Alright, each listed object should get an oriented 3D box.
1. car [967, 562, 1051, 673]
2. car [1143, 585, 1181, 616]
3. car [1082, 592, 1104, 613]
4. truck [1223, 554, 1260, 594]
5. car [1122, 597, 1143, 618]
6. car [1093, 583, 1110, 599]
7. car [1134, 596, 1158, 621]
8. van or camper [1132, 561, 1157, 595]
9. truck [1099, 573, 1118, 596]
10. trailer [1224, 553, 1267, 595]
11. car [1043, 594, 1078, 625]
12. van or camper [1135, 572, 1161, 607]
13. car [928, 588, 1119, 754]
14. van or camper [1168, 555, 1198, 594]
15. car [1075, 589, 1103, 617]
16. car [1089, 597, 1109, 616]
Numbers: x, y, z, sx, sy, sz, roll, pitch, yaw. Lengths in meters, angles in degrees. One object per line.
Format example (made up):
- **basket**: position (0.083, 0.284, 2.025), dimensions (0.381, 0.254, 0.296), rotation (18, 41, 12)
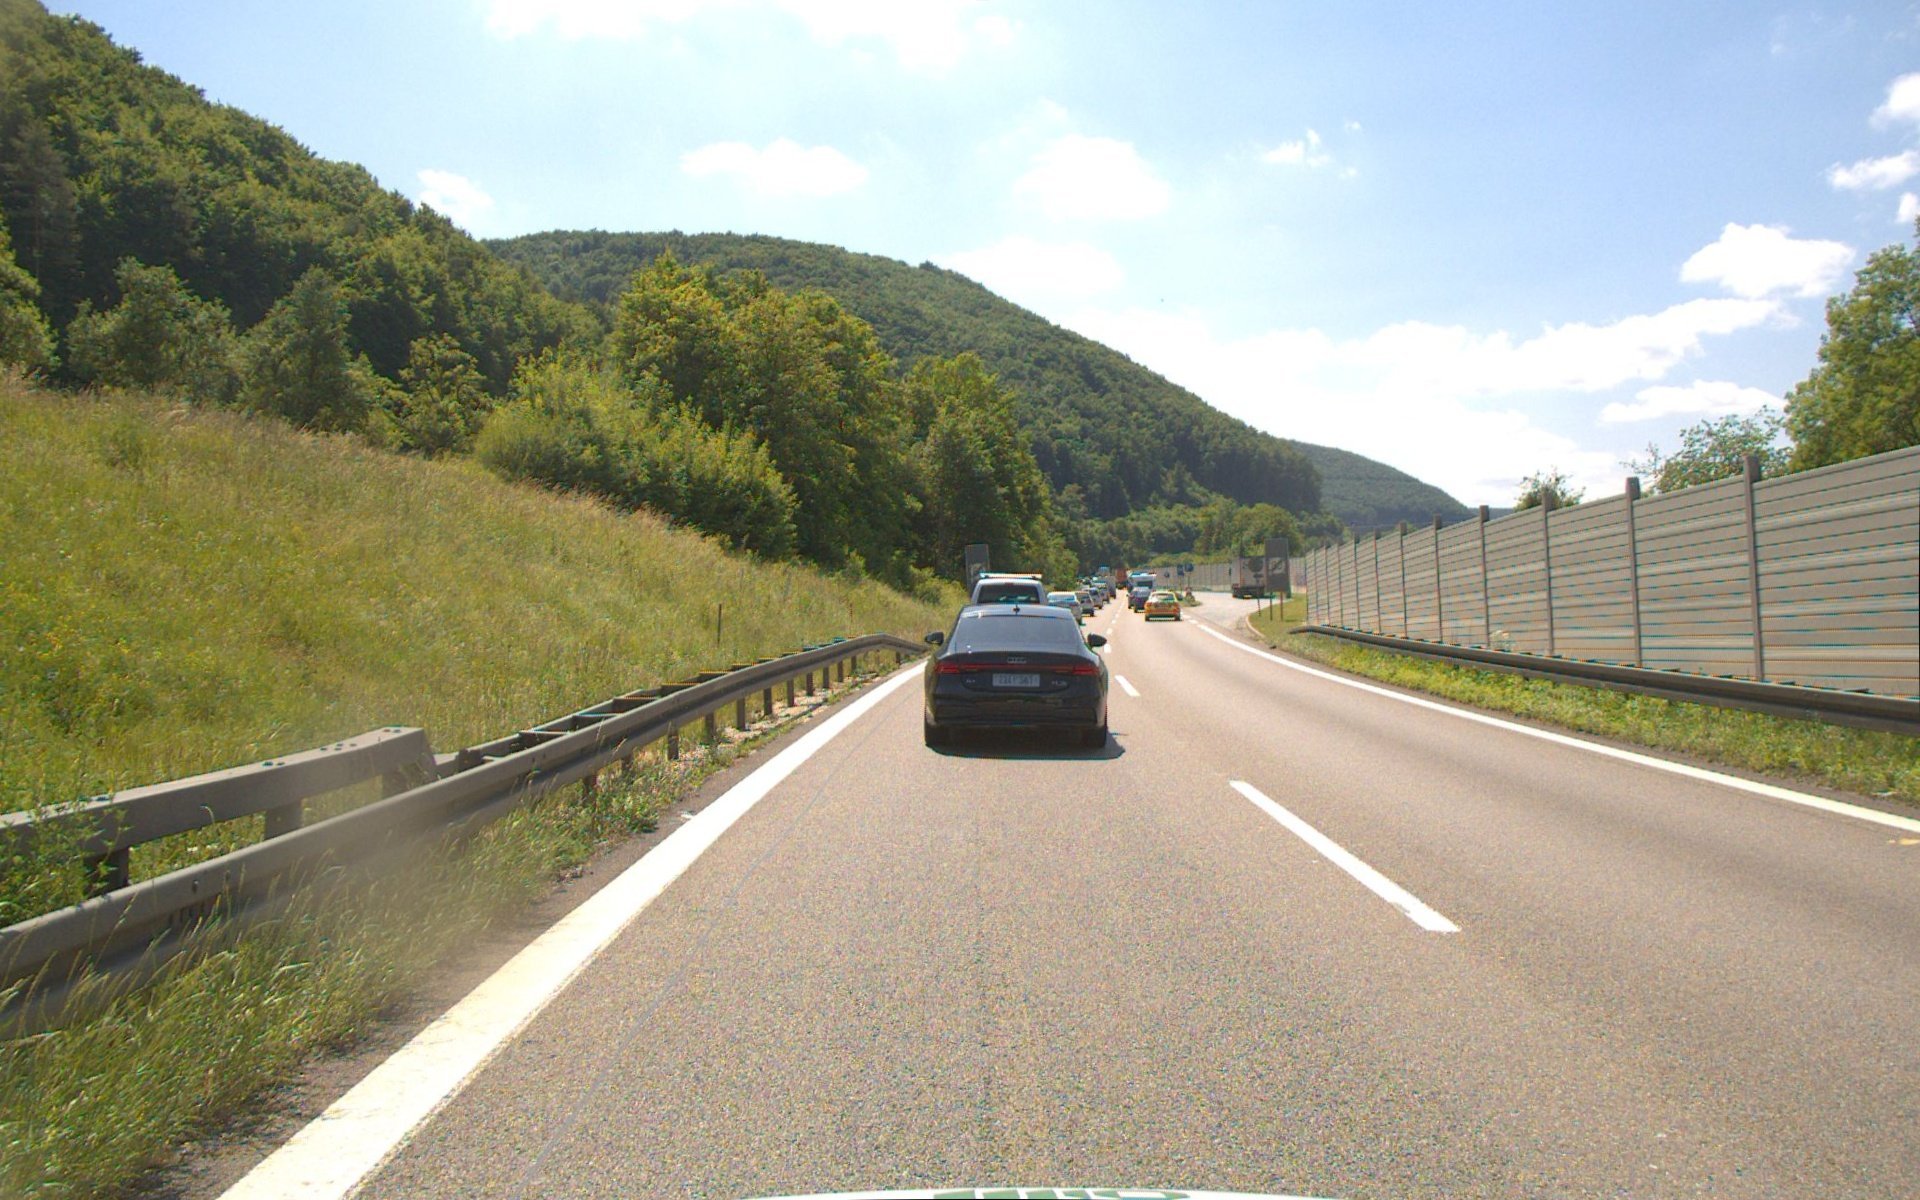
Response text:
- **car**: position (0.942, 0.315, 32.384), dimensions (1.490, 2.002, 3.515), rotation (2, 0, 1)
- **car**: position (10.268, 0.016, 84.302), dimensions (1.839, 1.525, 4.003), rotation (0, 0, 6)
- **car**: position (10.293, 0.201, 127.828), dimensions (1.489, 1.580, 3.517), rotation (2, 0, 7)
- **truck**: position (28.646, -2.637, 168.502), dimensions (3.339, 3.968, 5.391), rotation (0, 0, 6)
- **car**: position (13.318, 0.588, 127.663), dimensions (1.497, 1.552, 3.599), rotation (1, 0, 6)
- **car**: position (13.990, -0.888, 163.326), dimensions (1.489, 1.580, 3.517), rotation (2, 0, 7)
- **car**: position (11.999, 0.543, 106.763), dimensions (1.497, 1.552, 3.599), rotation (1, 0, 6)
- **van or camper**: position (22.452, -2.638, 201.224), dimensions (2.736, 3.975, 6.170), rotation (1, 0, 4)
- **truck**: position (18.638, -1.926, 207.036), dimensions (2.020, 2.651, 5.618), rotation (2, 0, 8)
- **trailer**: position (28.091, -2.564, 162.921), dimensions (3.339, 3.968, 11.159), rotation (0, 0, 6)
- **car**: position (4.552, 0.409, 74.895), dimensions (1.489, 1.317, 3.516), rotation (2, 0, 3)
- **van or camper**: position (17.604, -0.954, 155.133), dimensions (2.378, 3.210, 5.207), rotation (1, 0, 6)
- **car**: position (0.566, 0.665, 17.387), dimensions (1.775, 1.541, 3.513), rotation (1, 0, -1)
- **van or camper**: position (23.272, -2.618, 172.883), dimensions (2.736, 3.908, 6.170), rotation (1, 0, 4)
- **car**: position (7.680, 0.182, 98.188), dimensions (1.489, 1.580, 3.517), rotation (2, 0, 6)
- **car**: position (12.114, 0.534, 143.963), dimensions (1.489, 1.580, 3.517), rotation (2, 0, 8)
